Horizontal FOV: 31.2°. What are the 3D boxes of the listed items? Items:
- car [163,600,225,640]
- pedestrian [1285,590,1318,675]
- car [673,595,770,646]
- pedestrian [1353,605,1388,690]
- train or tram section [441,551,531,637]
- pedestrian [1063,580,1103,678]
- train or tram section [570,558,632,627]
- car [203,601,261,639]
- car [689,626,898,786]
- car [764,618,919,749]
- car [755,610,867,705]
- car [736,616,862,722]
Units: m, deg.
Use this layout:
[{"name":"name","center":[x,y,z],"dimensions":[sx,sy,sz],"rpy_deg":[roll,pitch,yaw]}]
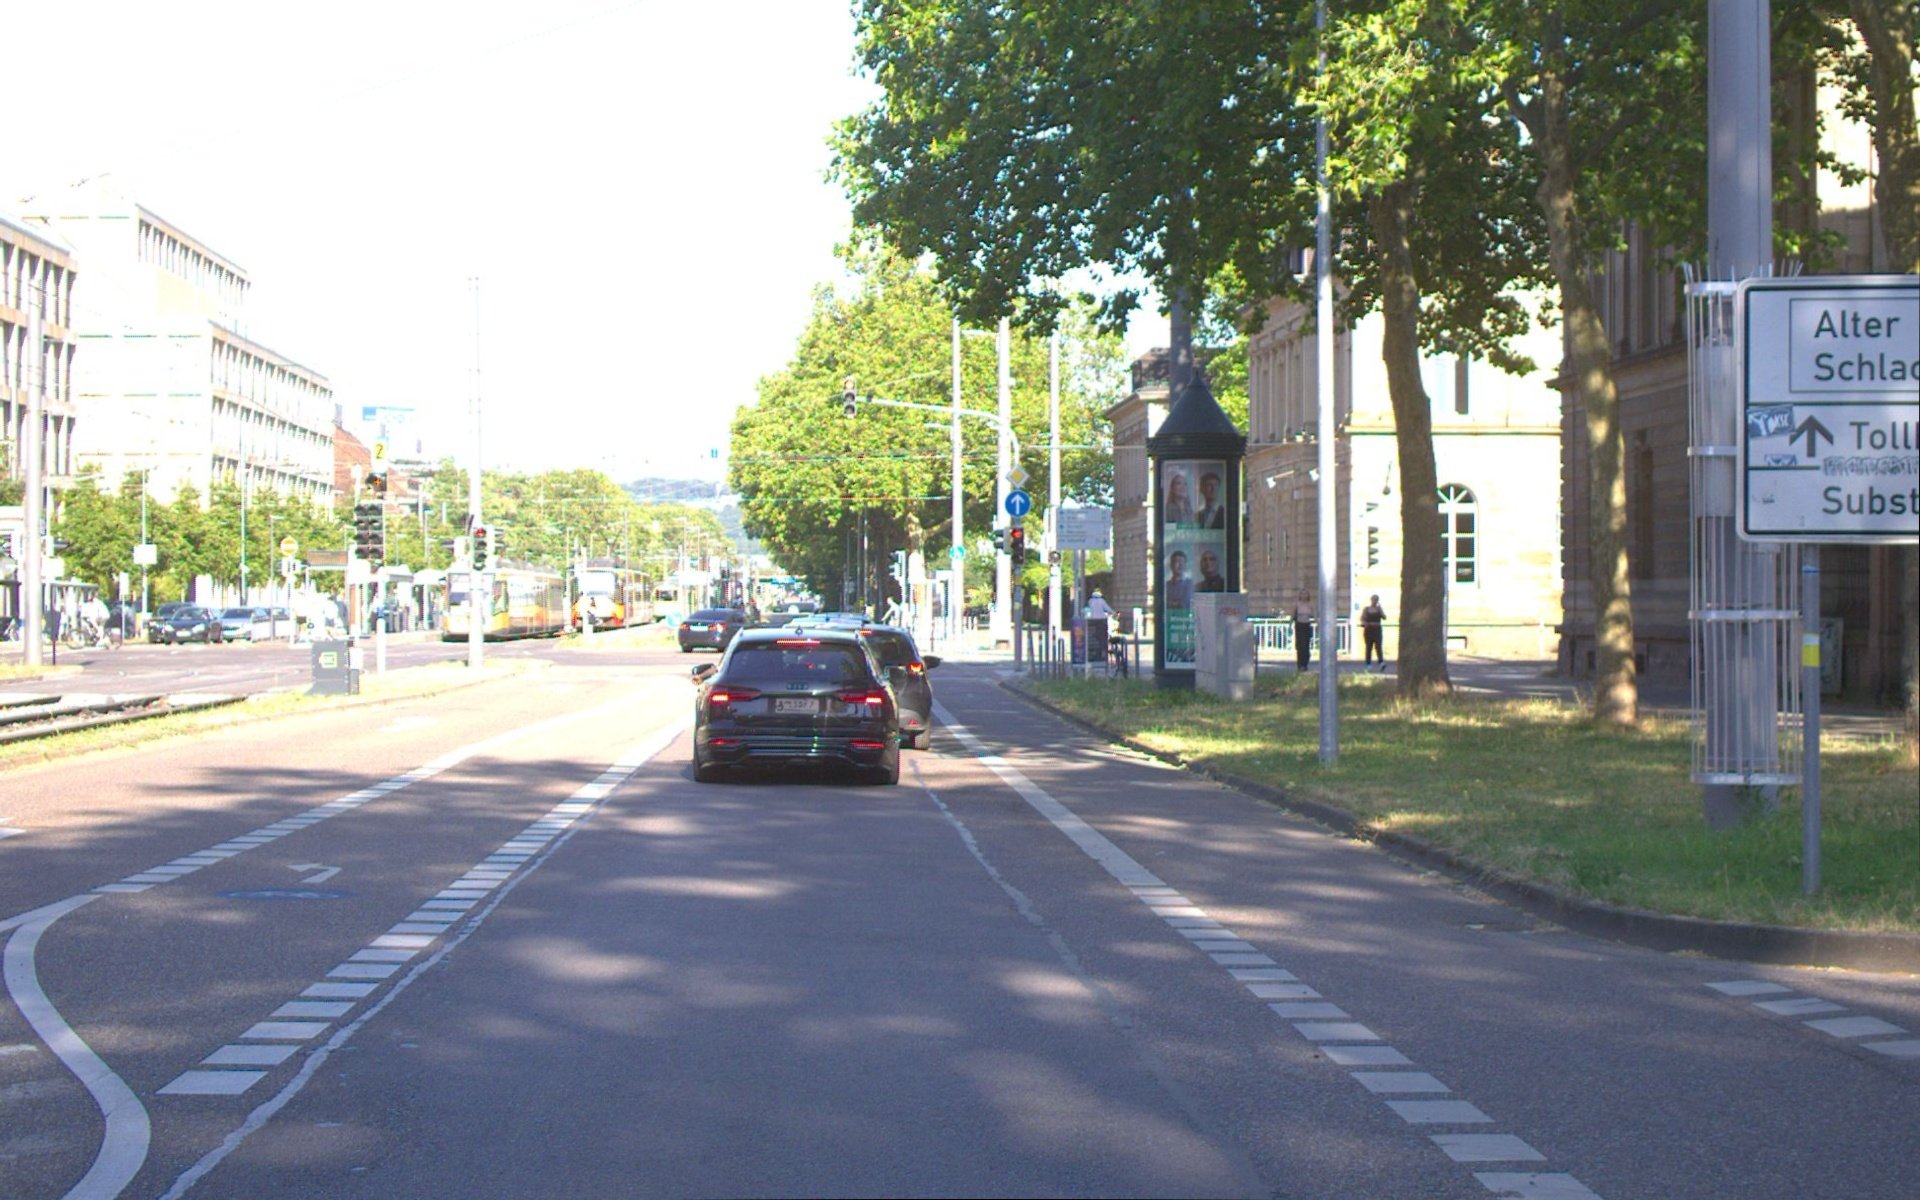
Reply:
[{"name":"car","center":[-29.345,0.759,131.798],"dimensions":[1.794,1.505,4.001],"rpy_deg":[0,0,-5]},{"name":"pedestrian","center":[7.027,0.663,70.715],"dimensions":[0.588,1.722,0.650],"rpy_deg":[2,0,10]},{"name":"car","center":[-7.658,0.671,110.679],"dimensions":[1.796,1.505,3.996],"rpy_deg":[1,-1,17]},{"name":"pedestrian","center":[8.433,0.970,70.612],"dimensions":[0.588,1.722,0.650],"rpy_deg":[2,0,12]},{"name":"train or tram section","center":[-19.600,-0.244,142.583],"dimensions":[2.825,3.439,9.064],"rpy_deg":[0,0,-2]},{"name":"pedestrian","center":[2.207,0.515,61.730],"dimensions":[0.588,1.722,0.650],"rpy_deg":[2,0,10]},{"name":"train or tram section","center":[-18.152,-0.377,174.317],"dimensions":[2.825,3.439,9.065],"rpy_deg":[0,0,-4]},{"name":"car","center":[-29.409,0.783,138.917],"dimensions":[1.794,1.505,4.001],"rpy_deg":[0,0,-5]},{"name":"car","center":[-1.587,0.956,32.561],"dimensions":[1.833,1.386,4.159],"rpy_deg":[0,0,-3]},{"name":"car","center":[-1.440,0.978,41.995],"dimensions":[1.794,1.505,4.000],"rpy_deg":[0,0,-2]},{"name":"car","center":[-2.456,0.928,57.226],"dimensions":[1.794,1.505,4.000],"rpy_deg":[0,0,-2]},{"name":"car","center":[-2.383,0.995,51.450],"dimensions":[1.794,1.505,4.000],"rpy_deg":[0,0,-2]}]
